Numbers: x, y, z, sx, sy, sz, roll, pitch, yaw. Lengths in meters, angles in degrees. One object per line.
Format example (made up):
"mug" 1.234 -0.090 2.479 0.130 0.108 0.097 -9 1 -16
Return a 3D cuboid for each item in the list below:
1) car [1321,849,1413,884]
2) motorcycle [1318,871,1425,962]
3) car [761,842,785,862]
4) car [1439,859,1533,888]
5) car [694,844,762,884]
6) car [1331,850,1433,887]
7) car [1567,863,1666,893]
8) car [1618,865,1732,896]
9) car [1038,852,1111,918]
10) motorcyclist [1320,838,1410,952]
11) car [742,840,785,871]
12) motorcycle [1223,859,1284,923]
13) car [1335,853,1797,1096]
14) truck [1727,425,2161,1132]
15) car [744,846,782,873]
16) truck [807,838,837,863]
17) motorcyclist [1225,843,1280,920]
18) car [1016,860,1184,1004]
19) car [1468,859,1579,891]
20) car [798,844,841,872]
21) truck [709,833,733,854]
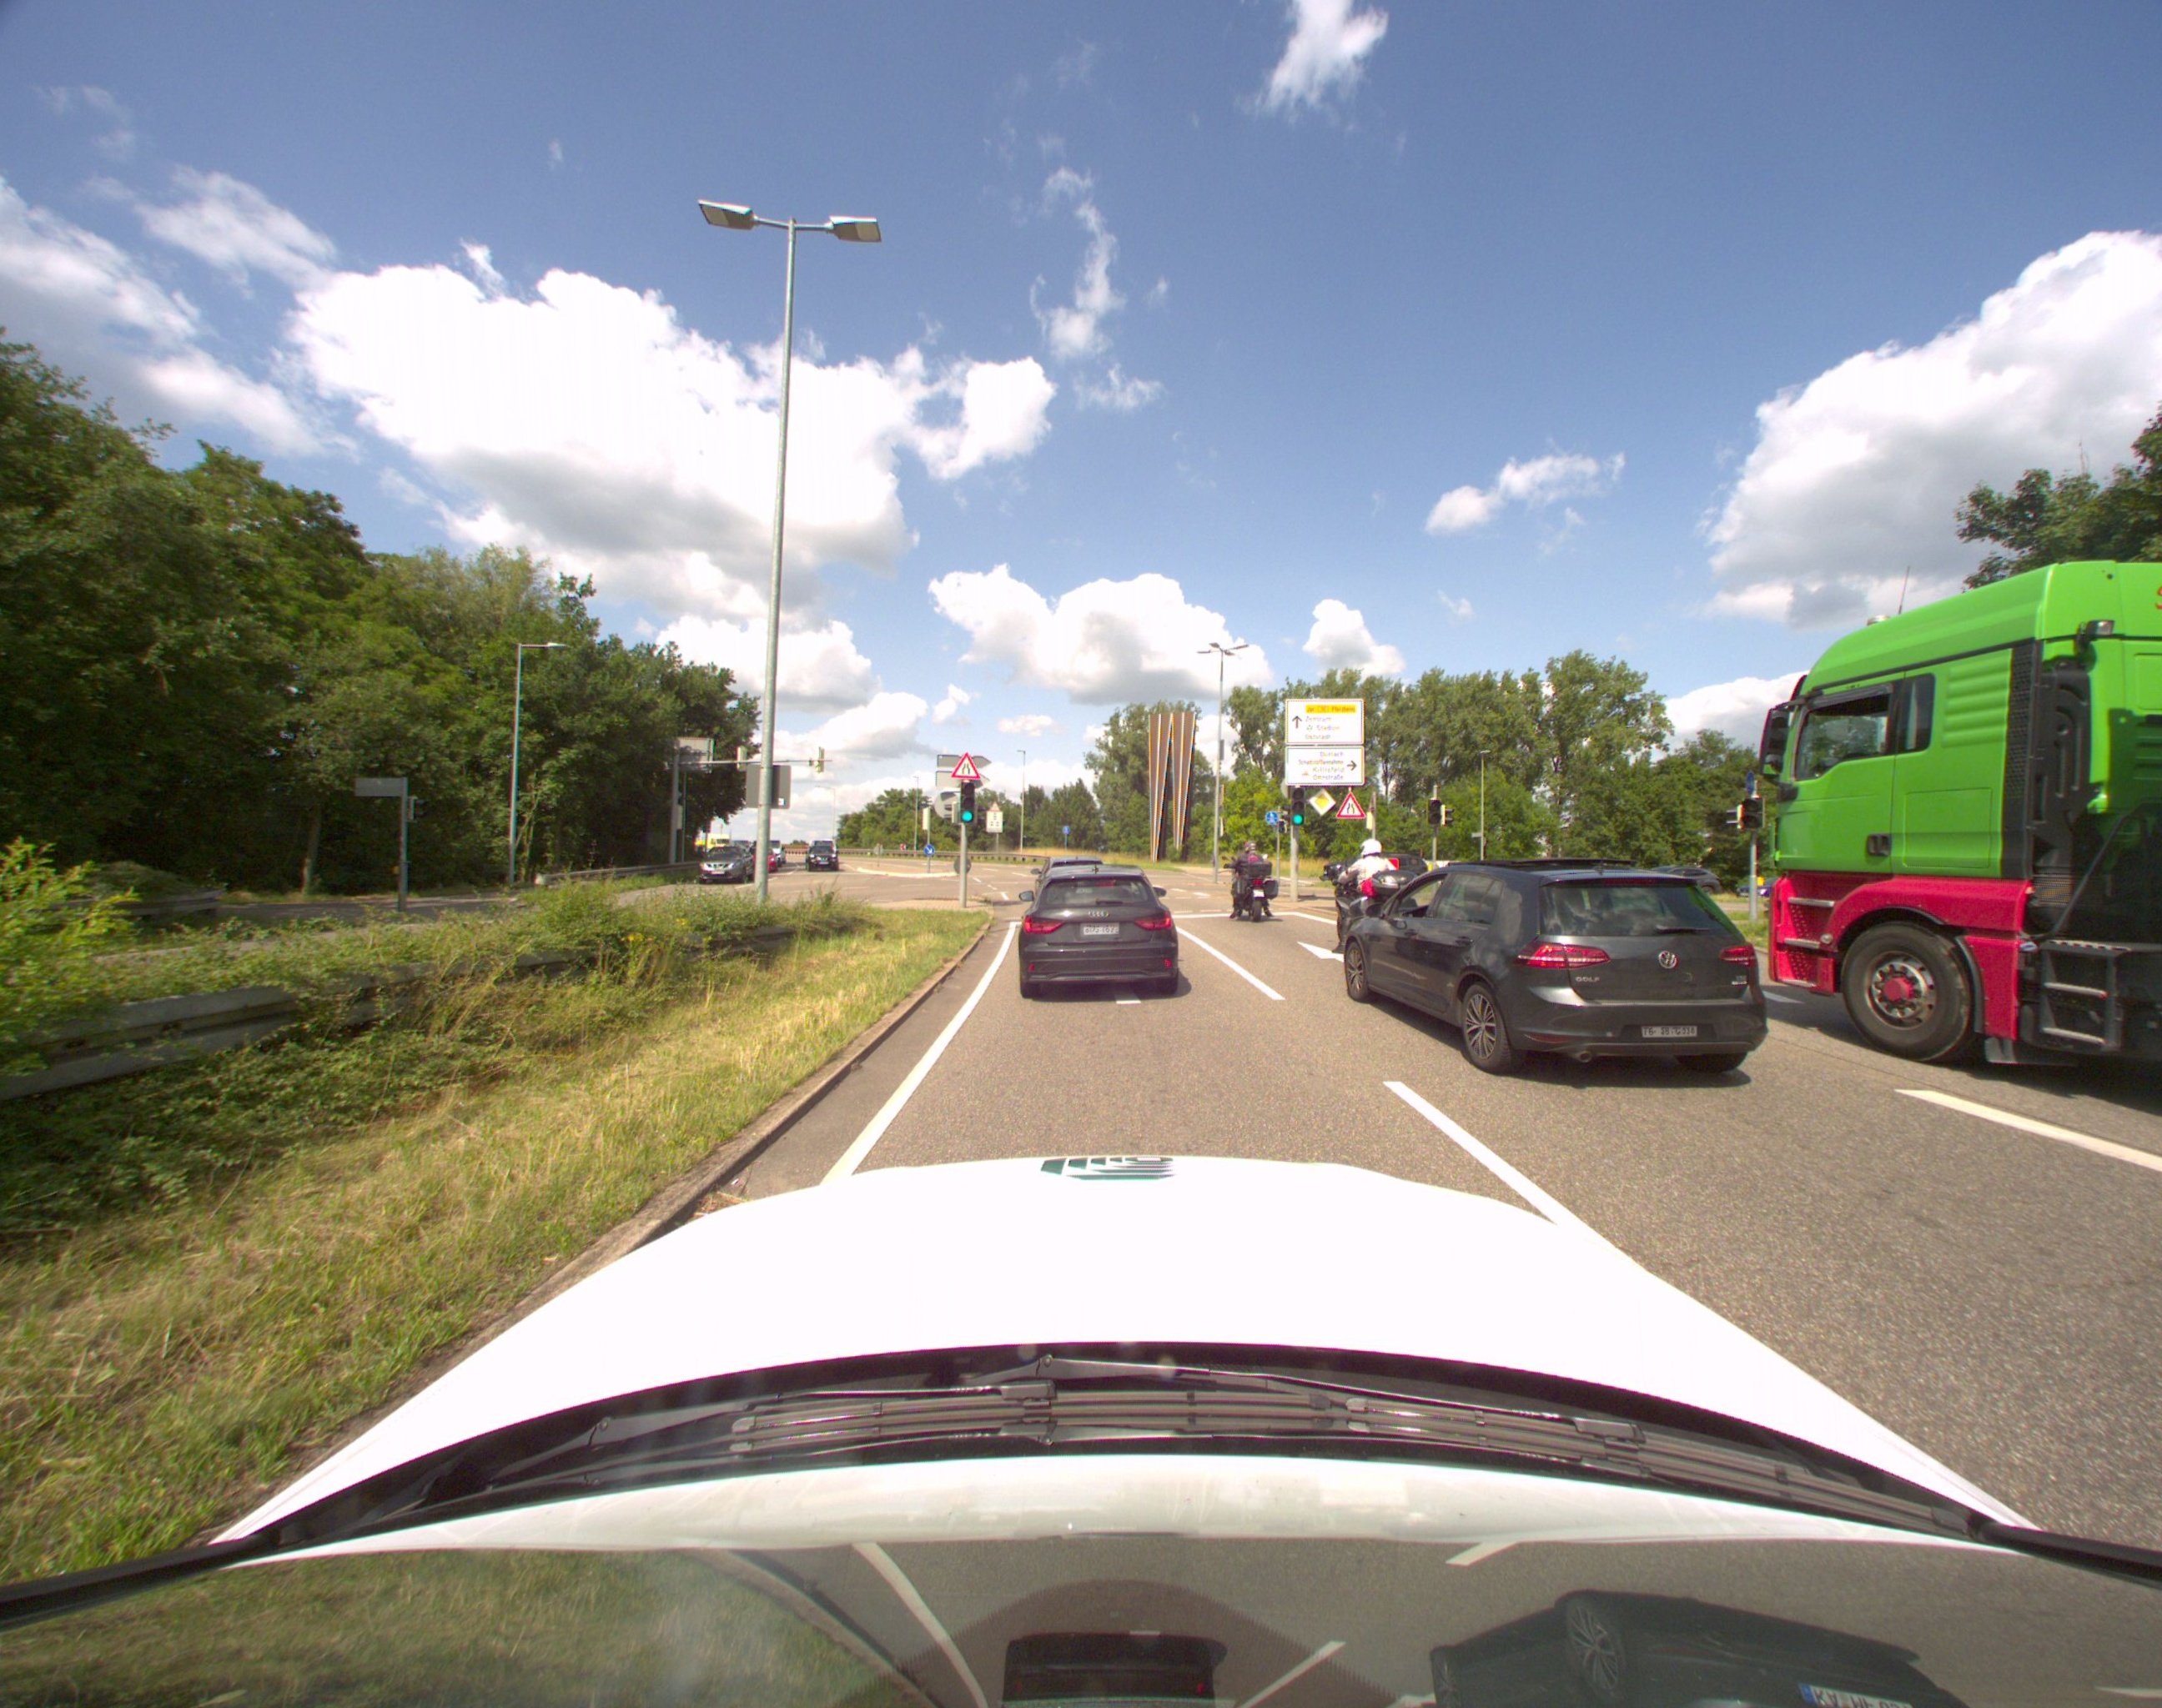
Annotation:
"car" 15.036 0.648 42.985 4.189 1.645 1.837 2 1 -1
"motorcycle" 4.172 0.844 11.927 0.786 1.132 2.400 0 0 2
"car" -25.169 -0.162 66.477 1.740 1.521 4.038 -1 1 -22
"car" 21.563 1.036 43.491 4.189 1.375 1.646 2 1 -1
"car" -15.221 0.406 35.321 1.710 1.586 4.267 -1 0 -10
"car" 14.592 0.712 39.620 4.268 1.617 1.844 2 -1 -1
"car" 28.537 1.268 43.462 4.189 1.375 1.700 2 1 -1
"car" 29.120 1.284 39.991 4.385 1.290 1.646 2 1 -1
"car" -0.125 0.696 20.202 1.637 1.479 3.872 0 0 0
"motorcyclist" 4.208 0.582 12.154 0.962 1.620 1.125 0 0 1
"car" -22.082 0.138 56.502 2.006 2.013 5.087 -2 0 -29
"motorcycle" 3.687 0.756 17.603 0.884 1.247 2.400 0 0 2
"car" 3.560 0.730 6.899 1.637 1.479 3.872 0 0 0
"truck" 7.380 -0.376 4.617 2.857 3.903 5.882 3 0 3
"car" -18.362 0.288 47.134 1.584 1.432 3.979 -1 0 -15
"truck" -20.749 -0.295 65.127 1.968 1.913 5.332 0 1 -21
"motorcyclist" 3.671 0.578 17.537 0.962 1.596 1.125 0 0 1
"car" 0.251 0.798 10.074 1.675 1.387 3.741 -1 0 2
"car" 21.454 1.001 39.584 4.514 1.375 1.646 2 1 -1
"car" -15.690 0.213 48.724 1.708 1.557 3.786 0 1 -30
"truck" -45.653 -1.370 103.335 1.999 2.620 6.069 -2 2 -17
